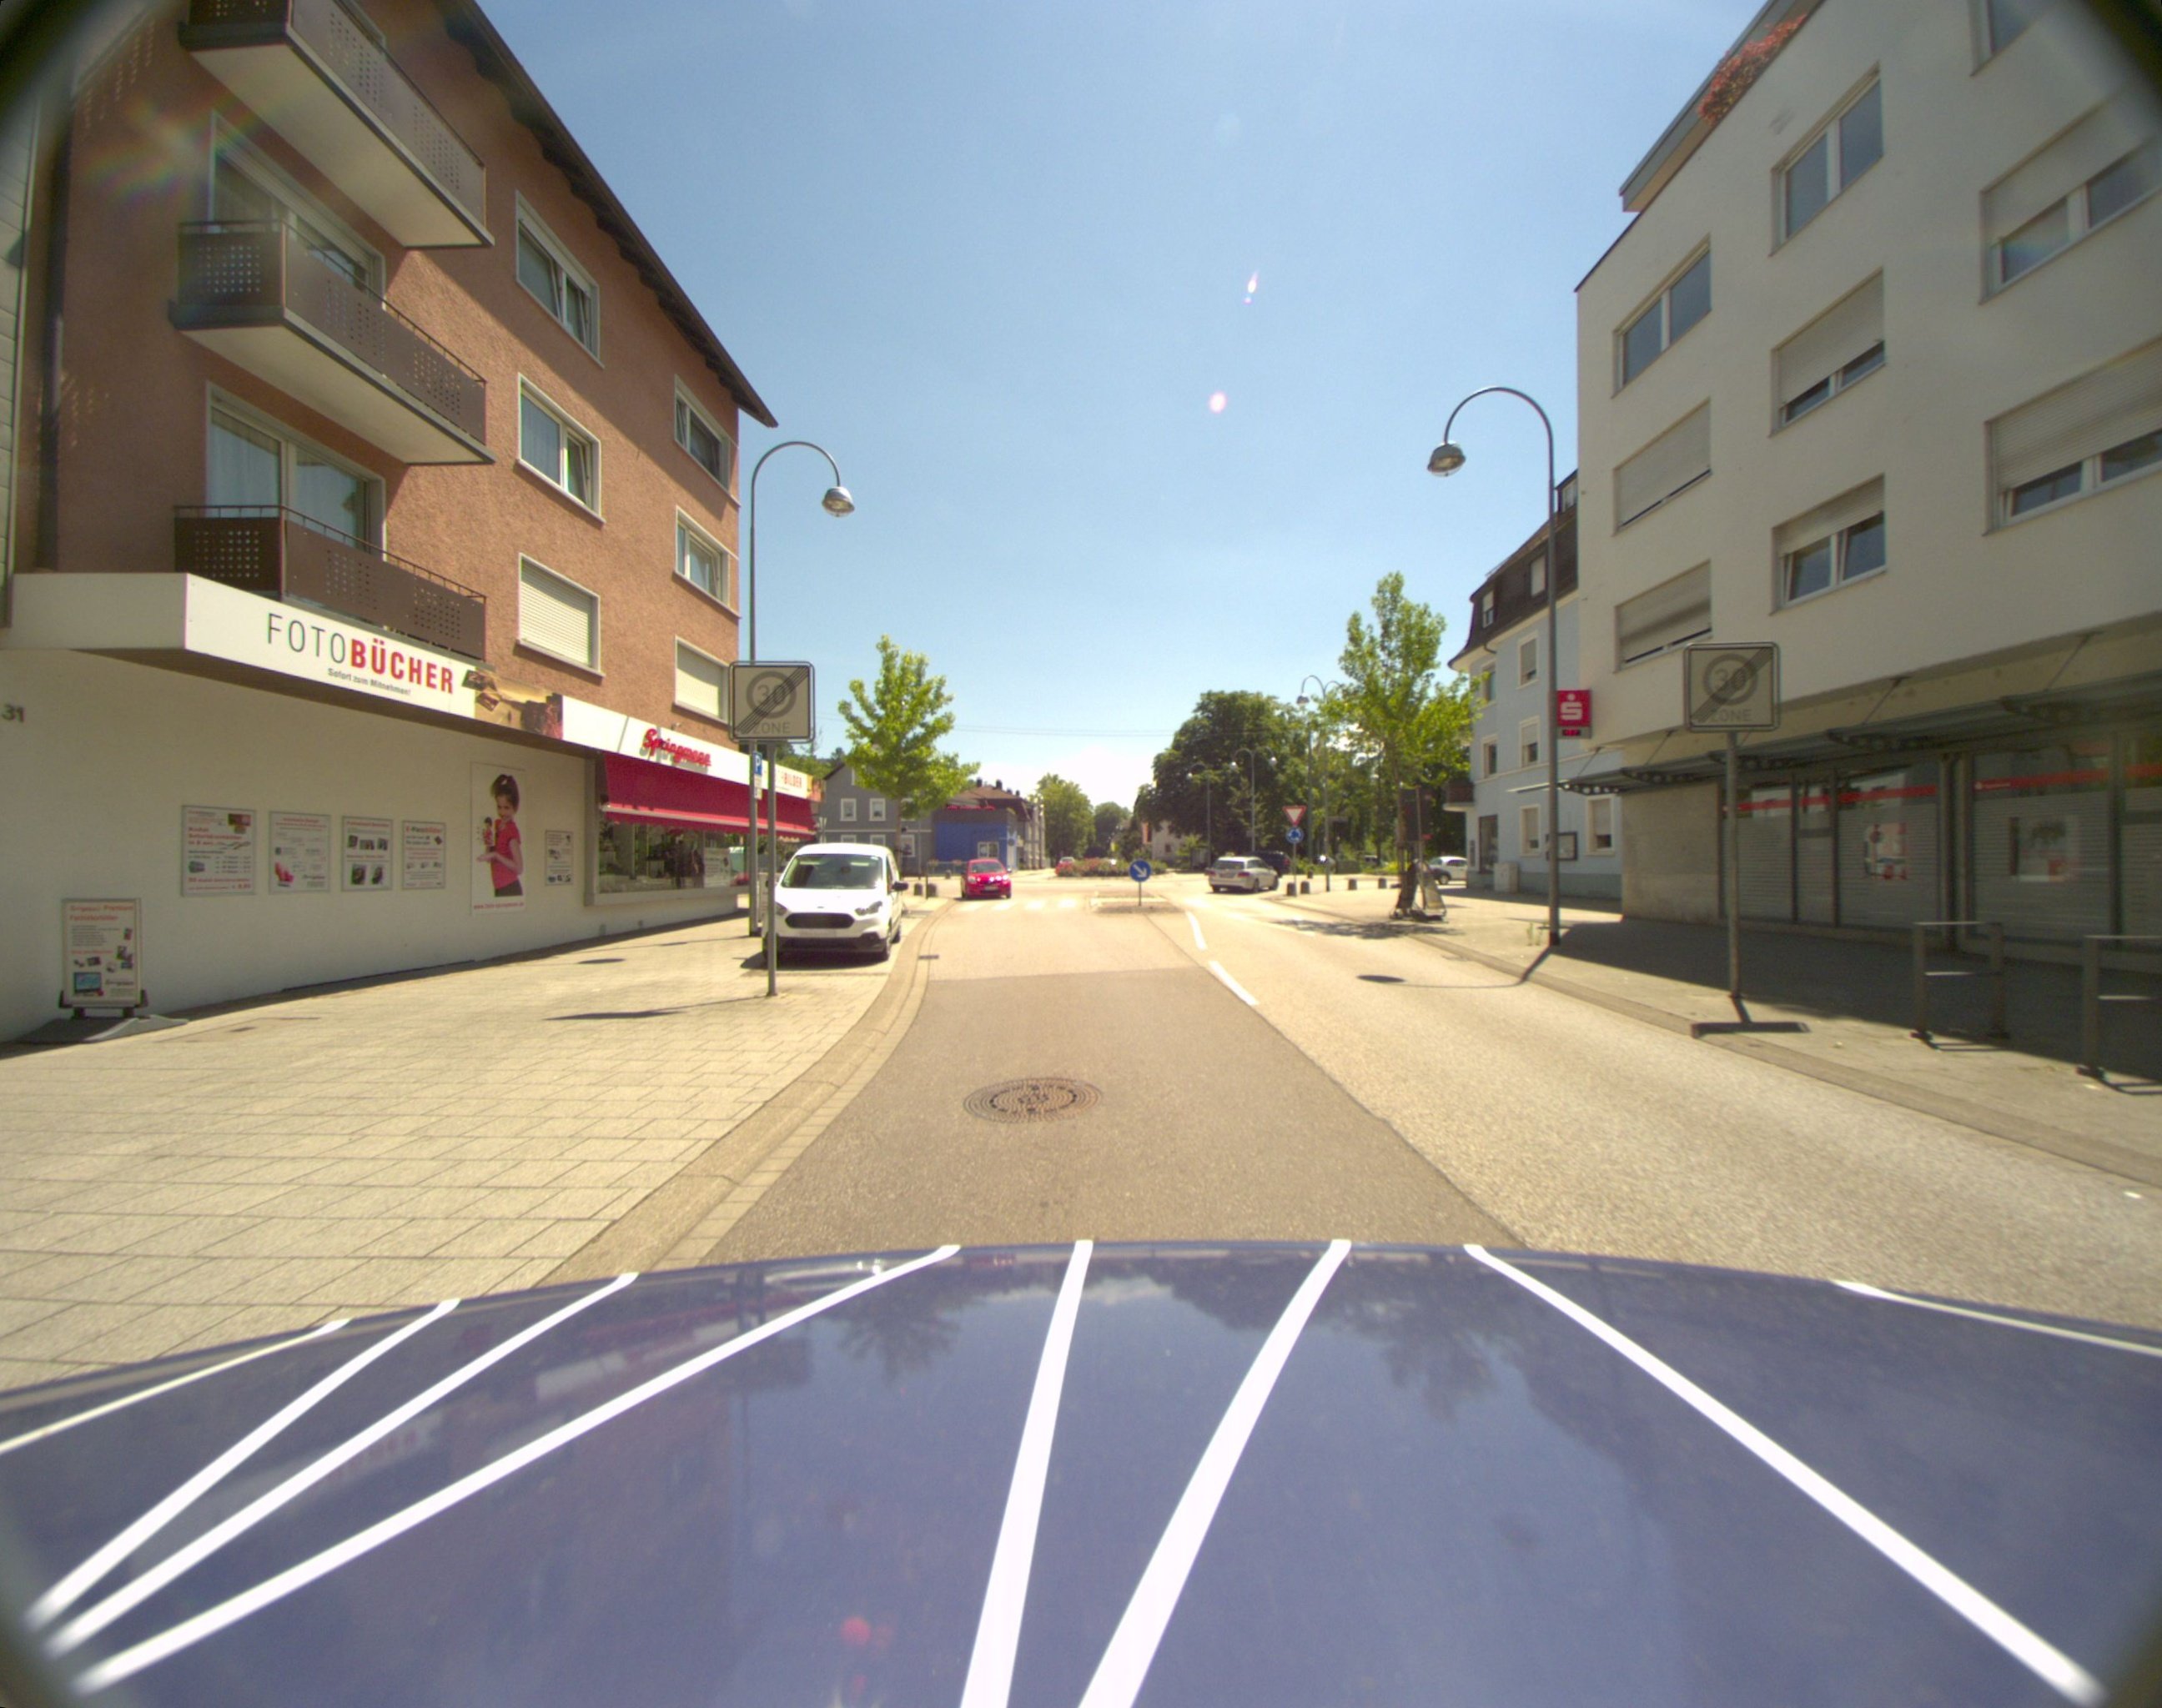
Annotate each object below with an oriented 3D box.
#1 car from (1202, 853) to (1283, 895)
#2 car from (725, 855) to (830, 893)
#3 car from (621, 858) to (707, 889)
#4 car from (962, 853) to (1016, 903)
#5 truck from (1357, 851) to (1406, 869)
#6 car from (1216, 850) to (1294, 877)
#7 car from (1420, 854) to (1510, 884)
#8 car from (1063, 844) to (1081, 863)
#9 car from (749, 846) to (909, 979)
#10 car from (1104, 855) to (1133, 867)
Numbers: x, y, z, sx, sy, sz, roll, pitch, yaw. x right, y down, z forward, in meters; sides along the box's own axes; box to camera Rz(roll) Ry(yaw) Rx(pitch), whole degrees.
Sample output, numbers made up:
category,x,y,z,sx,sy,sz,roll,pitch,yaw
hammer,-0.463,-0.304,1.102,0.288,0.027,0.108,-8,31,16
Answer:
category,x,y,z,sx,sy,sz,roll,pitch,yaw
car,7.018,0.793,32.536,1.994,1.584,5.008,2,1,29
car,-15.567,1.003,39.137,4.523,1.679,2.000,-2,1,0
car,-26.153,1.177,47.807,4.289,1.576,1.996,-2,5,-14
car,-3.522,0.874,29.667,1.834,1.525,3.996,-4,3,-5
truck,43.699,0.965,110.586,6.201,2.428,2.270,-2,-2,33
car,11.119,0.637,48.589,4.608,1.575,1.952,-1,-2,22
car,19.733,0.768,39.201,3.785,1.449,1.705,-1,1,3
car,-0.968,0.002,86.187,1.998,2.001,4.001,0,-2,0
car,-3.714,0.750,11.870,1.753,1.714,3.907,0,0,-9
car,4.839,0.881,96.744,1.928,1.373,4.298,-1,-2,30
